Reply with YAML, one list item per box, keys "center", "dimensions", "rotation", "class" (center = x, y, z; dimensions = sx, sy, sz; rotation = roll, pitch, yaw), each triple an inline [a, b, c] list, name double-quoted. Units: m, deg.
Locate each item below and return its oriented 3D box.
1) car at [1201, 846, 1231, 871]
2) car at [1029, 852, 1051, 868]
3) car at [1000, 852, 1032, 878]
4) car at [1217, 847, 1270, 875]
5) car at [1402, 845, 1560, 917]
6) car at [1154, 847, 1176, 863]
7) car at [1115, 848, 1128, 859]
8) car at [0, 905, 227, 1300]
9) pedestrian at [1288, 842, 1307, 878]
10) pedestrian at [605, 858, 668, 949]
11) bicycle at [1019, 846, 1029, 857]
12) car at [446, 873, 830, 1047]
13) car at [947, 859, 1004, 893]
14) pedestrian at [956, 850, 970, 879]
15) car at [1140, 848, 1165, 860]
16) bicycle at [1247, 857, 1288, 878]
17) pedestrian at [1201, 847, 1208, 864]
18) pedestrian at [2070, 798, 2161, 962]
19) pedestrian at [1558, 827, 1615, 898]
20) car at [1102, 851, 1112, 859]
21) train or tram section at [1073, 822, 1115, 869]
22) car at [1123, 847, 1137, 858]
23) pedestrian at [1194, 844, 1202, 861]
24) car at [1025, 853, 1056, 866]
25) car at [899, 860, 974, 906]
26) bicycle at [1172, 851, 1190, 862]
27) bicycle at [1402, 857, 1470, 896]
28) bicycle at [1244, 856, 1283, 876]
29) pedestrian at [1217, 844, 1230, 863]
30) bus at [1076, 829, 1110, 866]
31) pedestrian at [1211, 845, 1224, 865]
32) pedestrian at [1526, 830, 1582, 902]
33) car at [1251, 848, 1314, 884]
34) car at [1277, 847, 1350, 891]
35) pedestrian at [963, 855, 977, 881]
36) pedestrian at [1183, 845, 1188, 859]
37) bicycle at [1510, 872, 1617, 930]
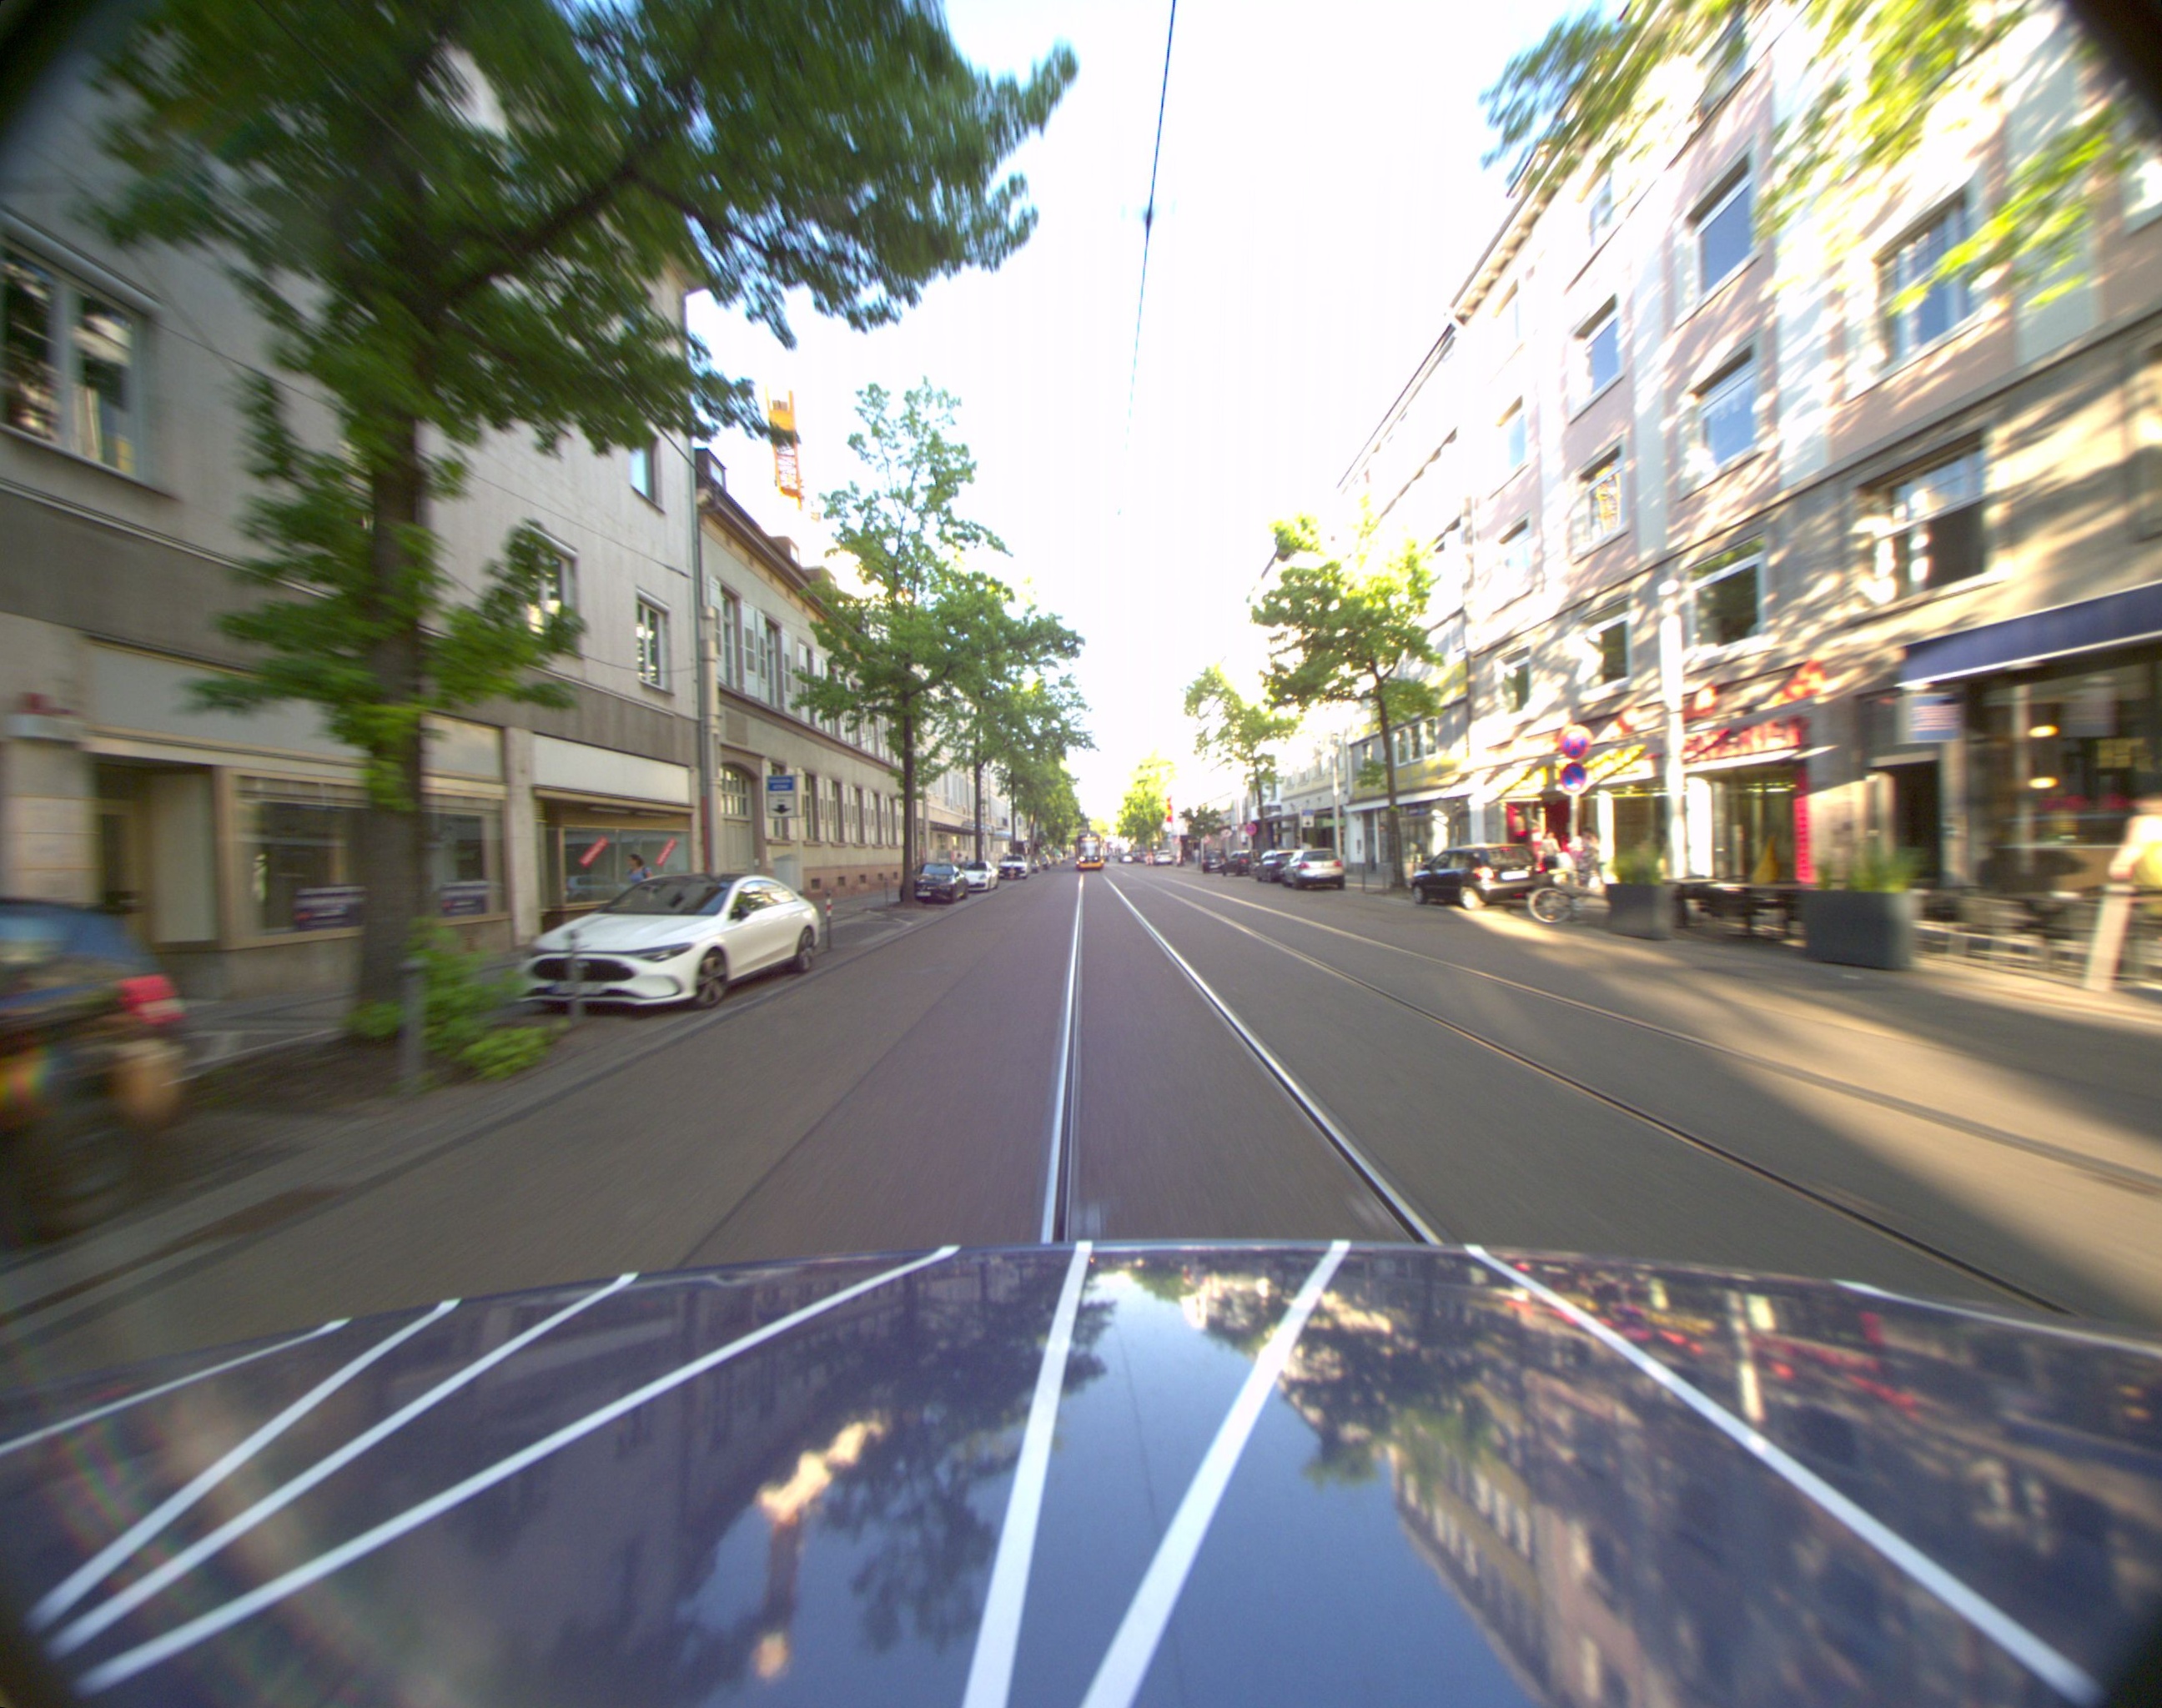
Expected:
- center: [9.472, 0.287, 53.241]
  dimensions: [1.632, 1.606, 3.712]
  rotation: [-4, 0, 15]
  class: "car"
- center: [-4.626, 0.672, 85.769]
  dimensions: [1.956, 1.782, 4.316]
  rotation: [0, 0, 4]
  class: "car"
- center: [-4.561, 0.731, 53.946]
  dimensions: [2.003, 1.678, 4.966]
  rotation: [0, 1, -3]
  class: "car"
- center: [9.570, 0.387, 45.040]
  dimensions: [1.797, 1.481, 4.240]
  rotation: [-4, 0, -6]
  class: "car"
- center: [9.398, 0.564, 18.225]
  dimensions: [1.670, 1.420, 3.827]
  rotation: [-5, 0, 0]
  class: "car"
- center: [9.893, 0.142, 89.956]
  dimensions: [1.998, 1.744, 4.744]
  rotation: [-4, 0, 0]
  class: "car"
- center: [6.982, -0.140, 130.689]
  dimensions: [2.039, 1.796, 4.200]
  rotation: [-1, 0, 0]
  class: "car"
- center: [-5.429, 1.074, 2.082]
  dimensions: [1.781, 1.582, 3.891]
  rotation: [2, 0, 0]
  class: "car"
- center: [11.533, 0.311, 40.469]
  dimensions: [0.661, 1.815, 0.878]
  rotation: [-5, 1, 1]
  class: "pedestrian"
- center: [-8.372, 0.912, 14.331]
  dimensions: [0.659, 1.655, 0.888]
  rotation: [1, 1, 0]
  class: "pedestrian"
- center: [-5.908, -0.242, 79.103]
  dimensions: [0.656, 1.064, 1.671]
  rotation: [0, 0, -19]
  class: "bicycle"
- center: [-4.974, 1.062, 9.540]
  dimensions: [1.998, 1.489, 4.680]
  rotation: [1, 0, 1]
  class: "car"
- center: [-4.874, 0.972, 35.791]
  dimensions: [1.917, 1.412, 4.887]
  rotation: [1, 0, 1]
  class: "car"
- center: [-7.849, 0.677, 50.565]
  dimensions: [0.715, 1.876, 1.053]
  rotation: [0, 1, 0]
  class: "pedestrian"
- center: [11.046, 0.011, 117.579]
  dimensions: [3.403, 1.551, 1.786]
  rotation: [-5, 2, -22]
  class: "car"
- center: [9.564, 0.682, 38.947]
  dimensions: [1.975, 0.995, 0.330]
  rotation: [-2, 1, 3]
  class: "bicycle"
- center: [13.010, 0.147, 79.950]
  dimensions: [0.628, 1.703, 0.808]
  rotation: [-3, 1, 4]
  class: "pedestrian"
- center: [11.874, 0.269, 8.293]
  dimensions: [0.723, 1.750, 1.090]
  rotation: [-2, 1, 0]
  class: "pedestrian"
- center: [12.513, 0.206, 18.837]
  dimensions: [0.791, 1.683, 0.913]
  rotation: [-2, 1, 0]
  class: "pedestrian"
- center: [5.009, 0.205, 145.672]
  dimensions: [1.783, 1.399, 4.527]
  rotation: [-2, 0, 1]
  class: "car"
- center: [1.217, -0.736, 74.876]
  dimensions: [3.607, 3.974, 15.715]
  rotation: [-2, 0, 1]
  class: "train or tram section"
- center: [7.576, -0.220, 118.115]
  dimensions: [1.889, 1.602, 4.200]
  rotation: [0, 0, 0]
  class: "car"
- center: [12.090, -0.131, 78.438]
  dimensions: [0.643, 1.703, 0.829]
  rotation: [-3, 1, 4]
  class: "pedestrian"
- center: [-5.549, 0.739, 104.073]
  dimensions: [3.937, 1.599, 1.867]
  rotation: [-2, 2, 7]
  class: "car"
- center: [-5.115, 0.987, 27.530]
  dimensions: [1.837, 1.469, 4.761]
  rotation: [0, 0, 0]
  class: "car"
- center: [10.330, 0.298, 78.522]
  dimensions: [1.748, 0.986, 0.478]
  rotation: [-5, 0, 8]
  class: "bicycle"
- center: [10.456, 0.655, 22.394]
  dimensions: [1.815, 1.059, 0.440]
  rotation: [-3, 1, -8]
  class: "bicycle"
- center: [9.757, 0.653, 40.639]
  dimensions: [1.975, 0.995, 0.330]
  rotation: [-2, 1, 3]
  class: "bicycle"
- center: [13.206, -0.039, 70.375]
  dimensions: [0.834, 1.685, 1.037]
  rotation: [-4, 1, 0]
  class: "pedestrian"
- center: [1.424, -0.718, 91.463]
  dimensions: [3.616, 3.974, 17.483]
  rotation: [-2, 0, 1]
  class: "bus"
- center: [11.935, 0.069, 66.410]
  dimensions: [0.853, 1.756, 0.832]
  rotation: [-2, 0, -2]
  class: "pedestrian"
- center: [11.400, 0.292, 18.335]
  dimensions: [0.846, 1.683, 0.740]
  rotation: [-2, 1, 0]
  class: "pedestrian"
- center: [9.243, 0.493, 35.178]
  dimensions: [1.716, 1.452, 4.486]
  rotation: [-3, 0, 1]
  class: "car"
- center: [8.728, 0.516, 28.843]
  dimensions: [1.771, 1.488, 4.176]
  rotation: [-2, 1, 5]
  class: "car"
- center: [-6.861, 0.874, 46.909]
  dimensions: [0.650, 1.564, 0.798]
  rotation: [-2, 1, 0]
  class: "pedestrian"
- center: [15.108, -0.240, 109.715]
  dimensions: [0.616, 2.002, 0.592]
  rotation: [-2, 0, -1]
  class: "pedestrian"
- center: [8.965, 0.870, 14.162]
  dimensions: [1.619, 0.960, 0.433]
  rotation: [-4, 0, 6]
  class: "bicycle"
